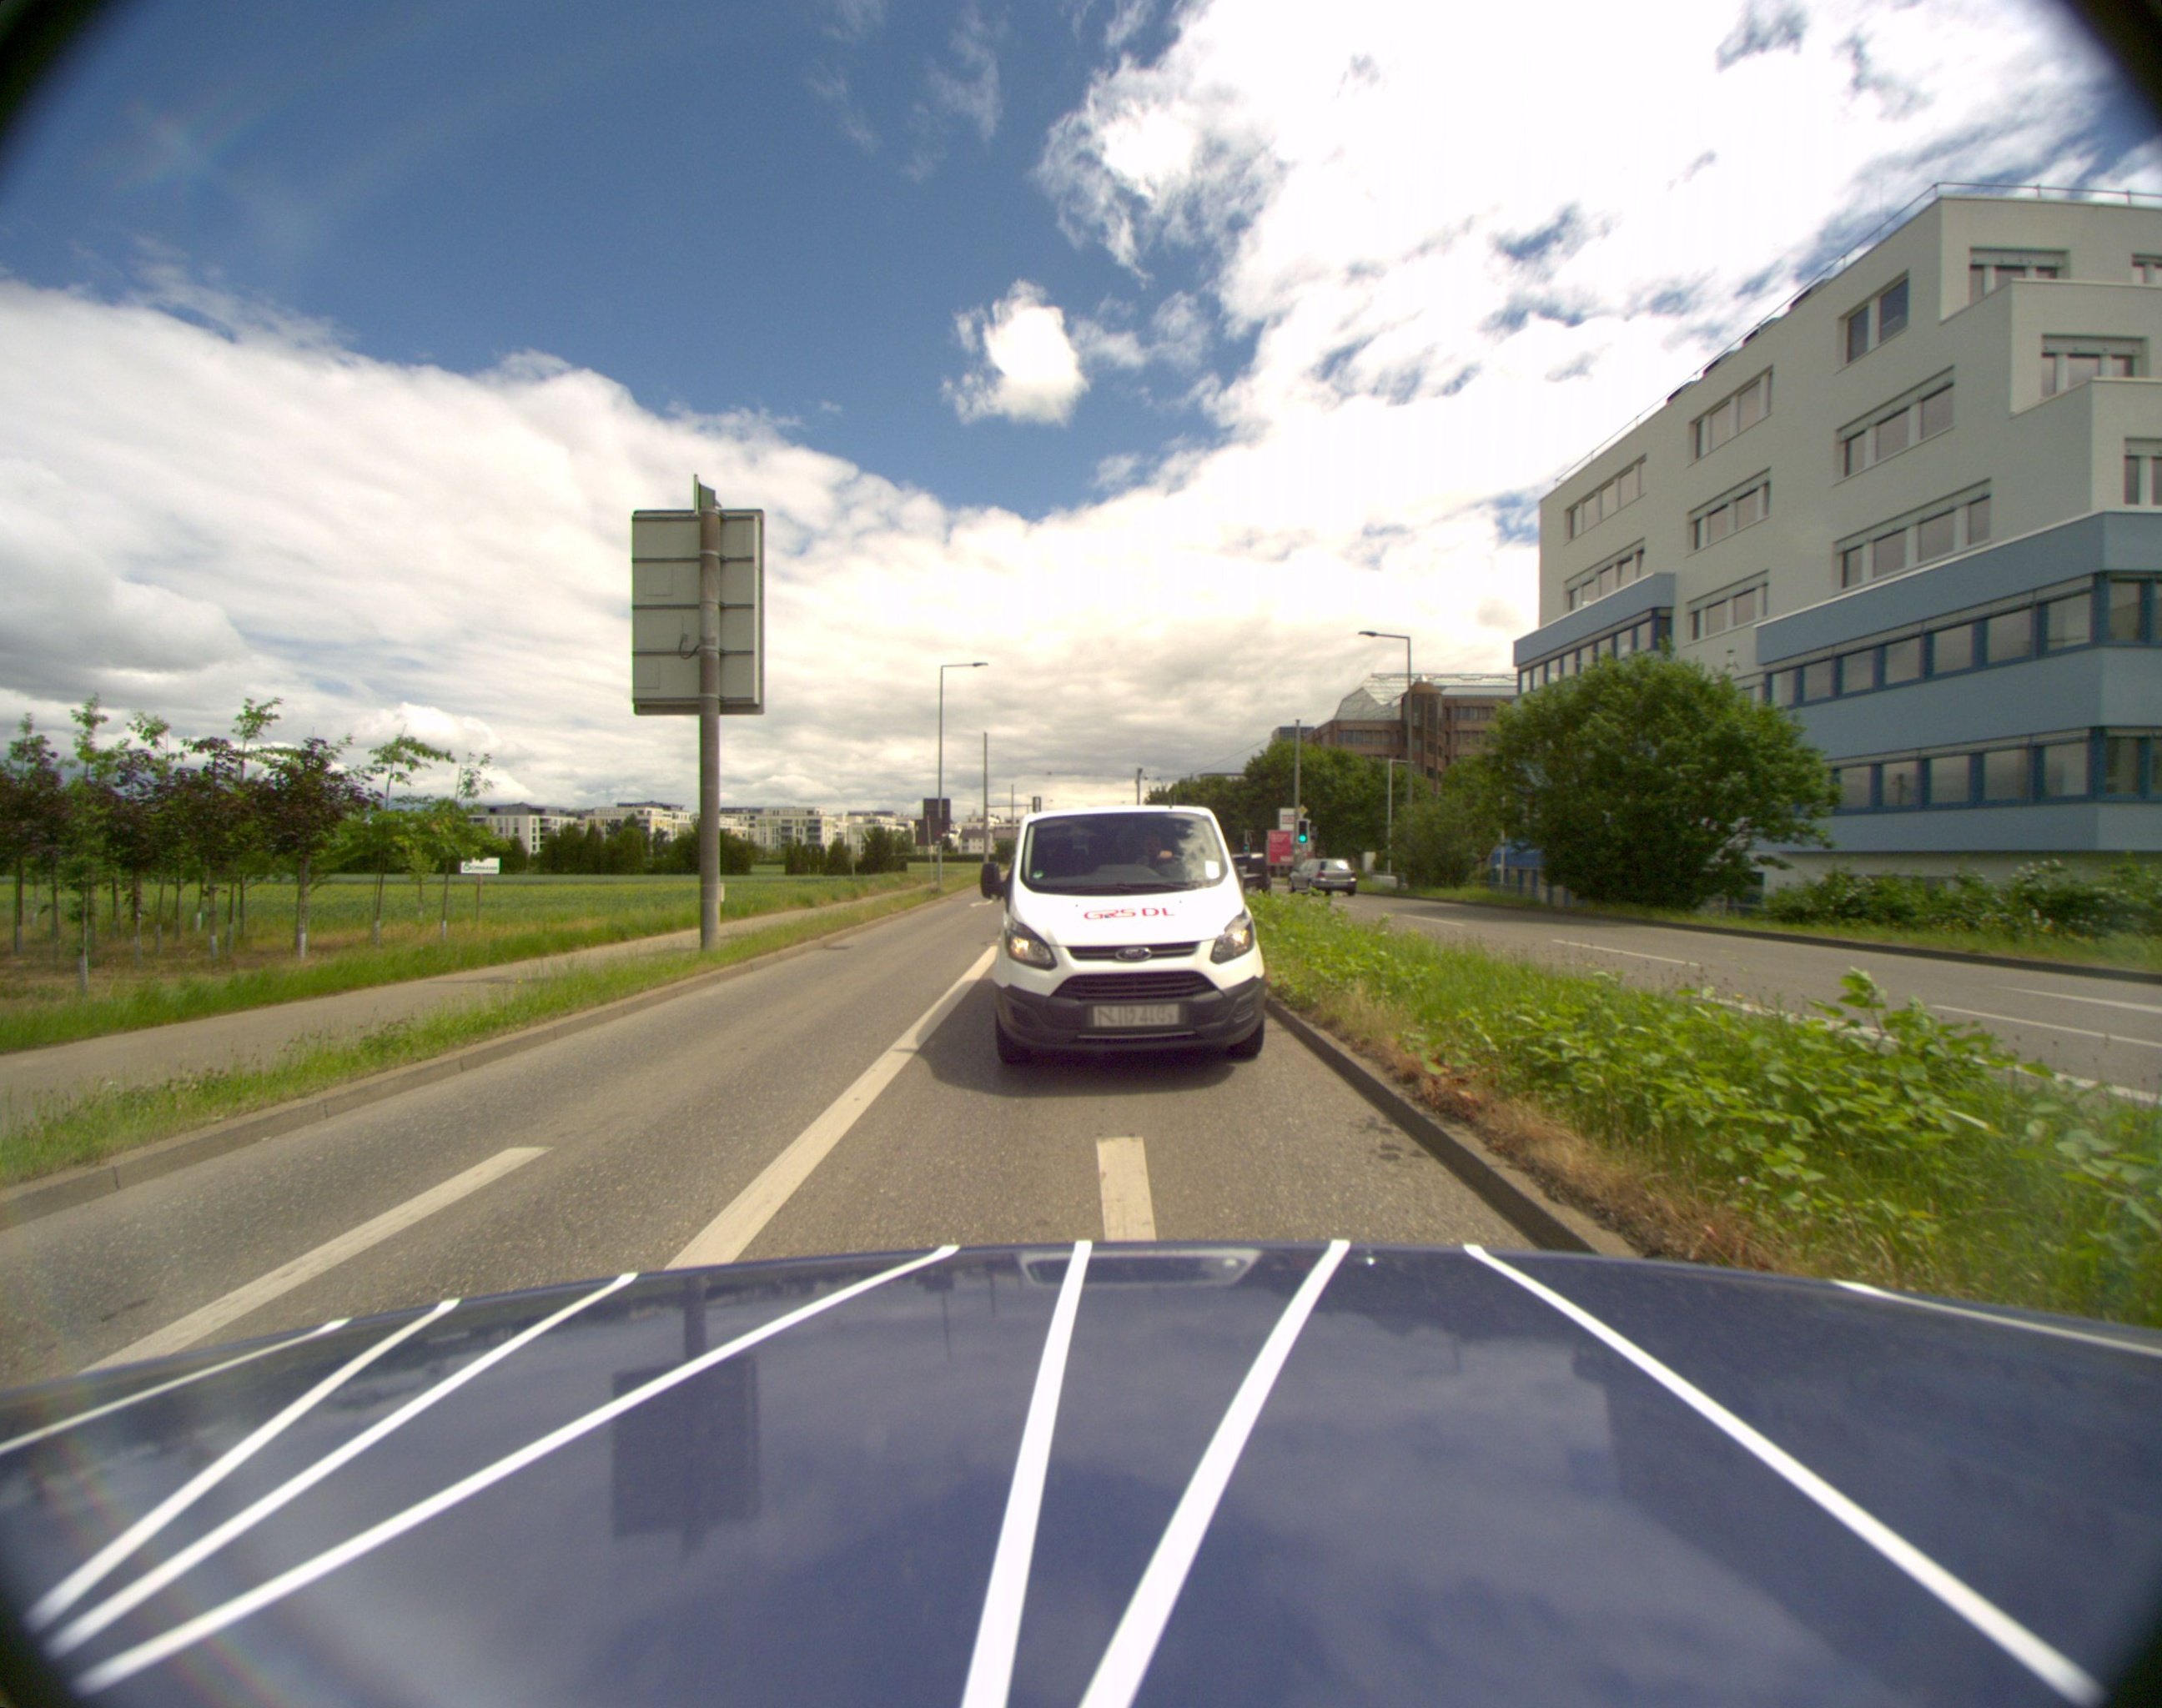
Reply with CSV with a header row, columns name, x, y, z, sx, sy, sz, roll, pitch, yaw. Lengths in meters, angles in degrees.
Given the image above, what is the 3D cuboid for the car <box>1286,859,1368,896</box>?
name,x,y,z,sx,sy,sz,roll,pitch,yaw
car,9.650,0.879,30.173,1.998,1.346,4.000,-1,0,1

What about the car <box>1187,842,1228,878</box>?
name,x,y,z,sx,sy,sz,roll,pitch,yaw
car,8.864,0.399,53.659,1.998,2.398,5.240,0,0,0

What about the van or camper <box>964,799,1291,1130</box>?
name,x,y,z,sx,sy,sz,roll,pitch,yaw
van or camper,0.174,0.667,7.529,1.999,2.002,5.798,0,0,-2

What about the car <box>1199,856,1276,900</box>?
name,x,y,z,sx,sy,sz,roll,pitch,yaw
car,5.738,0.828,28.337,1.940,1.508,3.999,-1,0,-2

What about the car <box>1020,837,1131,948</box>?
name,x,y,z,sx,sy,sz,roll,pitch,yaw
car,-0.071,0.695,15.845,1.998,2.002,4.000,0,0,1
